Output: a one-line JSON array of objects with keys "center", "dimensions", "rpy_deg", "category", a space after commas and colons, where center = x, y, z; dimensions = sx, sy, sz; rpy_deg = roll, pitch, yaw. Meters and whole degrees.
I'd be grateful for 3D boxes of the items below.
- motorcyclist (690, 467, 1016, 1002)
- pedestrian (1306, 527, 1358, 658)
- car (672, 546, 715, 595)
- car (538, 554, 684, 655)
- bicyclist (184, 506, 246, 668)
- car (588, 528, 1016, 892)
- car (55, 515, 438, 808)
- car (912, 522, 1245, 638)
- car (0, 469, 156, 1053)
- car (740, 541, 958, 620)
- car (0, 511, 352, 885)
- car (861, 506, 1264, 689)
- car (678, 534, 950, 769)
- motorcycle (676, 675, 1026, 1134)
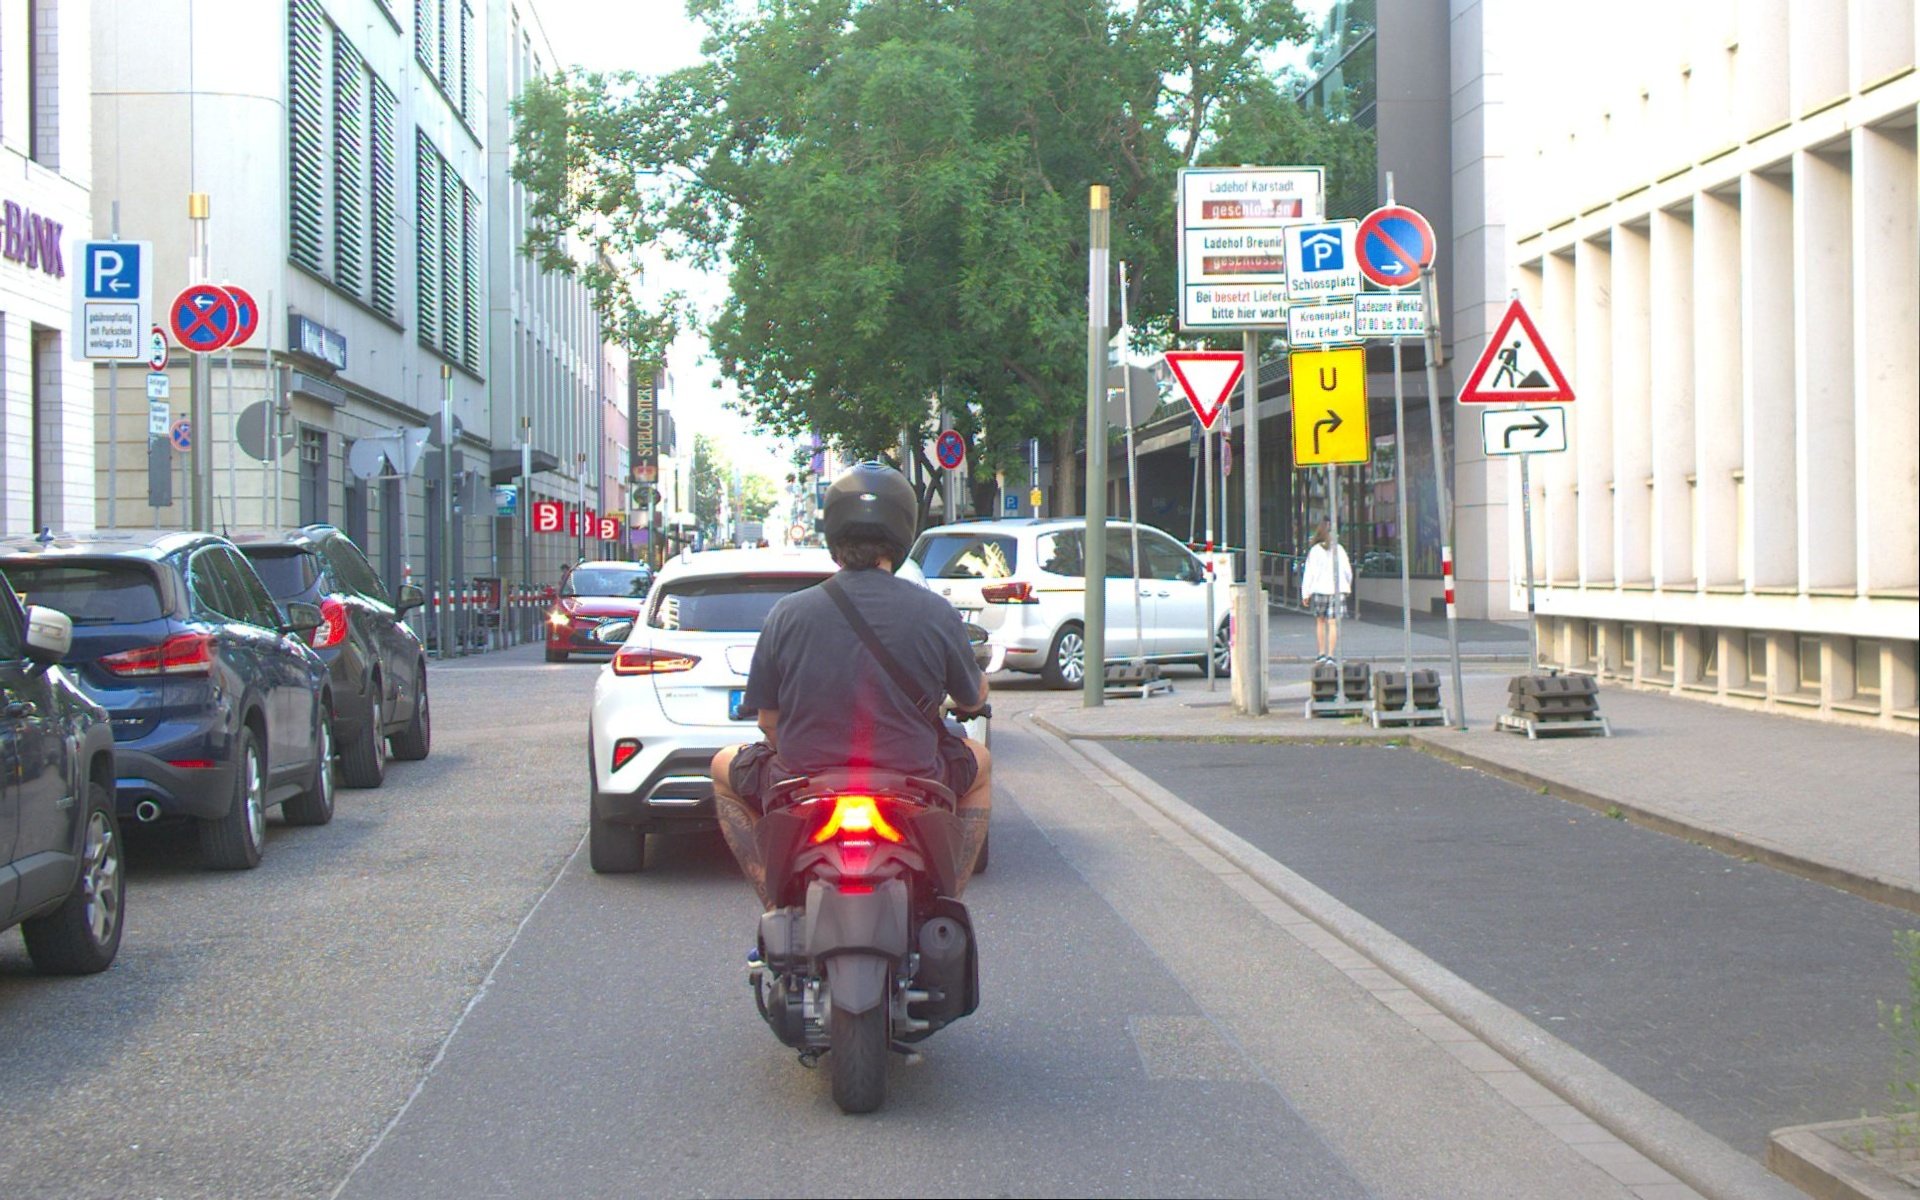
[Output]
[{"center": [-0.291, 0.359, 9.396], "dimensions": [0.867, 1.422, 0.455], "rpy_deg": [0, 0, -2], "category": "motorcyclist"}, {"center": [4.517, -0.095, 41.751], "dimensions": [0.559, 1.578, 0.598], "rpy_deg": [0, 0, -1], "category": "pedestrian"}, {"center": [-13.005, -1.455, 167.658], "dimensions": [1.993, 2.321, 5.022], "rpy_deg": [1, 1, -5], "category": "car"}, {"center": [-5.259, 0.098, 52.233], "dimensions": [1.822, 1.460, 4.263], "rpy_deg": [-1, -1, -1], "category": "car"}, {"center": [-8.029, -0.137, 37.040], "dimensions": [0.550, 1.726, 0.501], "rpy_deg": [0, 0, -26], "category": "bicyclist"}, {"center": [-0.813, 0.427, 16.888], "dimensions": [1.822, 1.536, 4.264], "rpy_deg": [-1, 1, -4], "category": "car"}, {"center": [-4.597, 0.323, 22.739], "dimensions": [1.822, 1.672, 4.264], "rpy_deg": [-3, 1, -4], "category": "car"}, {"center": [1.855, -0.311, 54.752], "dimensions": [5.003, 1.447, 2.000], "rpy_deg": [-4, 0, -5], "category": "car"}, {"center": [-3.785, 0.494, 10.610], "dimensions": [1.822, 1.708, 4.018], "rpy_deg": [-3, 1, -4], "category": "car"}, {"center": [-2.679, -0.456, 82.252], "dimensions": [5.003, 1.494, 2.000], "rpy_deg": [-4, 0, -5], "category": "car"}, {"center": [-4.174, 0.401, 17.111], "dimensions": [1.739, 1.589, 4.155], "rpy_deg": [-3, 1, -4], "category": "car"}, {"center": [1.134, -0.060, 35.453], "dimensions": [1.826, 1.640, 4.485], "rpy_deg": [-2, 2, 37], "category": "car"}, {"center": [-1.152, 0.314, 26.046], "dimensions": [1.822, 1.536, 4.365], "rpy_deg": [-3, 1, -4], "category": "car"}, {"center": [-0.301, 0.780, 9.522], "dimensions": [0.872, 1.105, 1.840], "rpy_deg": [0, 0, -2], "category": "motorcycle"}]
